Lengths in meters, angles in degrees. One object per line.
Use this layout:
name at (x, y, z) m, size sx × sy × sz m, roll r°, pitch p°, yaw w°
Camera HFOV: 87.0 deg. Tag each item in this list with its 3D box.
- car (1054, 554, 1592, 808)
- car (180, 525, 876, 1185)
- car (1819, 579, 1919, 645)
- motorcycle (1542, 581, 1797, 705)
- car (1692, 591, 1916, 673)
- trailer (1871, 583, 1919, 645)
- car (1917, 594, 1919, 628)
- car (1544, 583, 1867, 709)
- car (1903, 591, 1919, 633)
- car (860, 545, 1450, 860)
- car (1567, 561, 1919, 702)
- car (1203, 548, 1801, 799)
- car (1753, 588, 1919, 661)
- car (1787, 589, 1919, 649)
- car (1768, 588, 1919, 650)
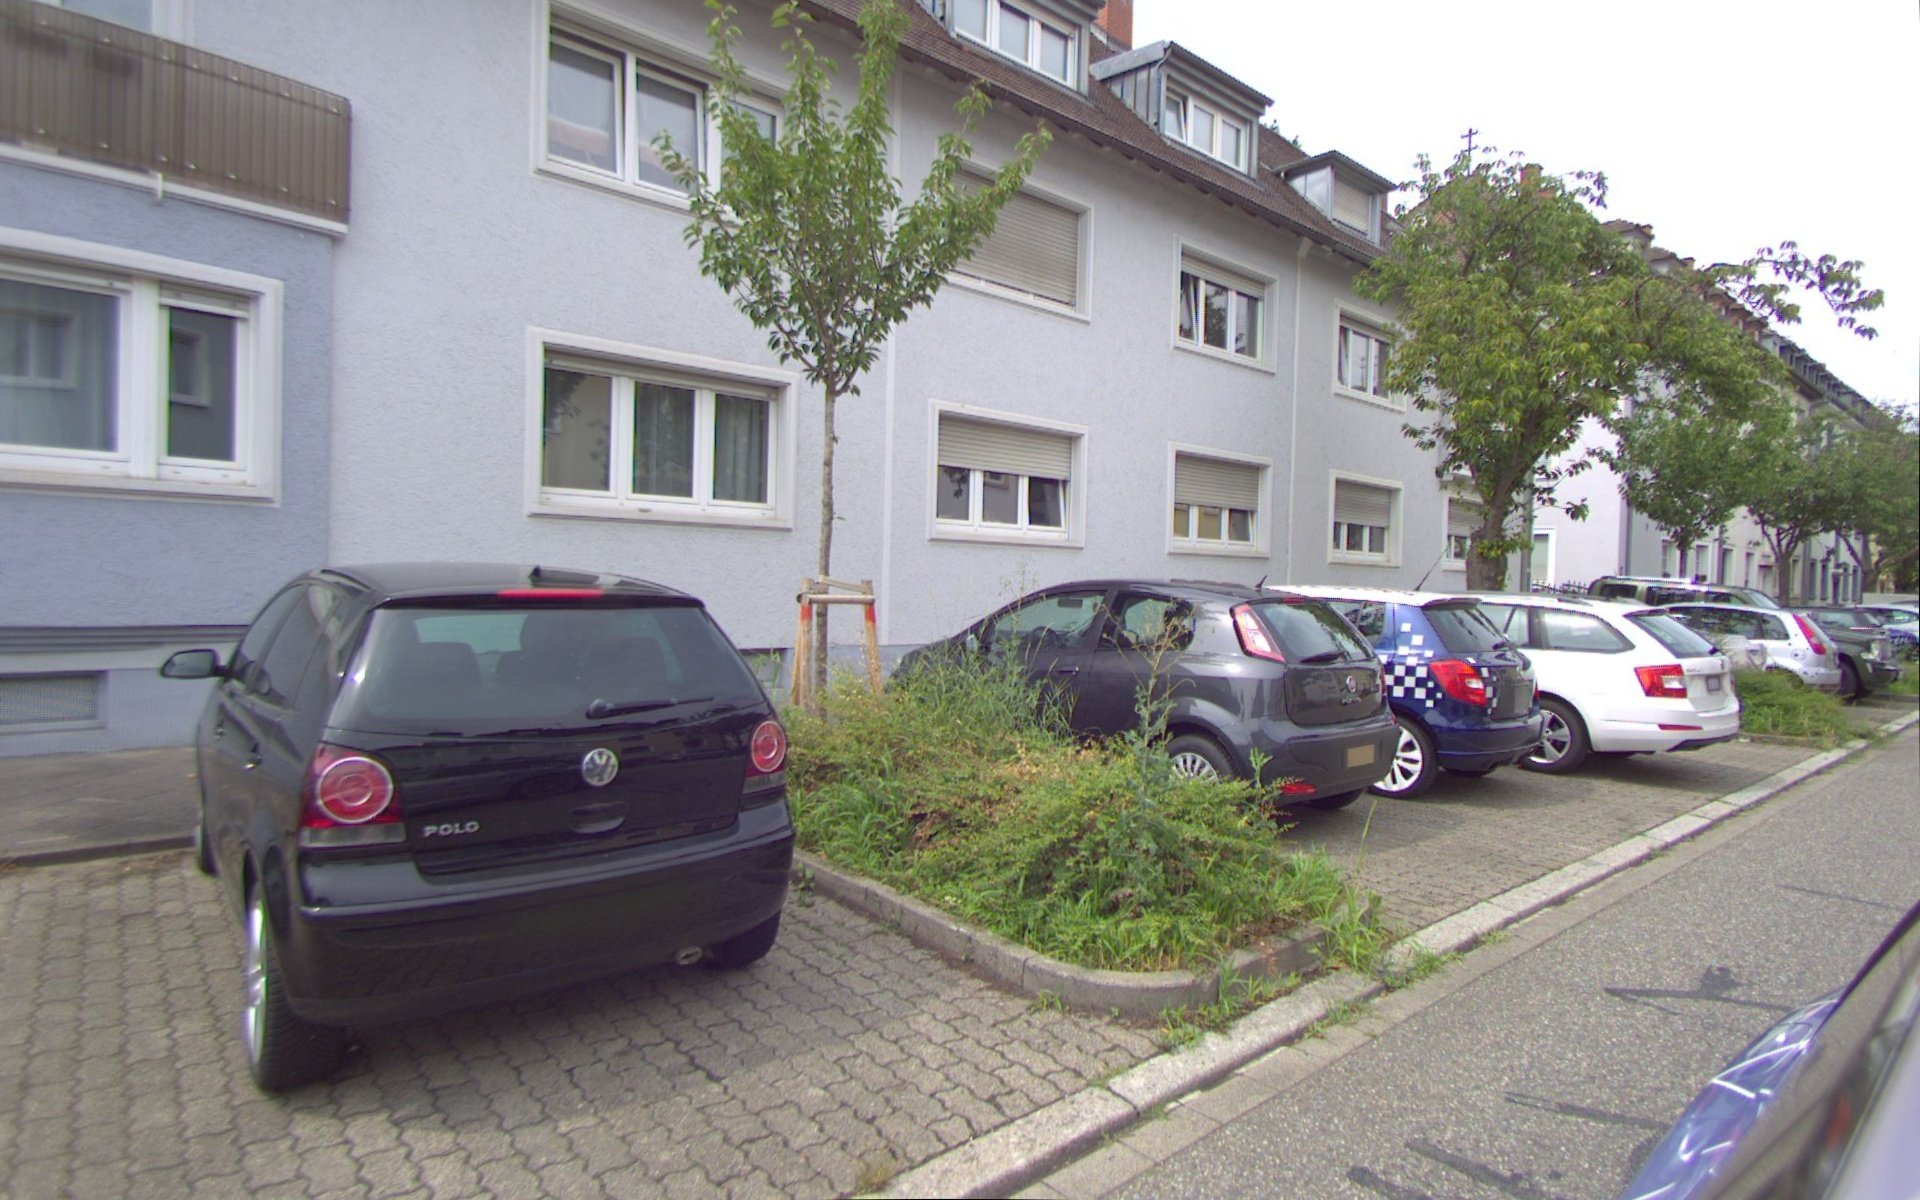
car at (2.837, 0.460, 8.672) m, size 1.682 × 1.526 × 3.998 m, roll 0°, pitch 4°, yaw -39°
car at (-2.206, 0.462, 4.337) m, size 1.682 × 1.439 × 3.998 m, roll 0°, pitch 4°, yaw -39°
car at (28.207, 0.400, 29.672) m, size 1.868 × 1.756 × 4.229 m, roll 1°, pitch 4°, yaw -37°
motorcycle at (9.684, 0.522, 13.928) m, size 1.014 × 1.482 × 2.704 m, roll 0°, pitch 2°, yaw -43°
car at (18.852, 0.637, 22.719) m, size 1.777 × 1.470 × 3.552 m, roll 0°, pitch 4°, yaw -40°
trailer at (30.448, 0.476, 31.379) m, size 1.374 × 1.853 × 2.971 m, roll 1°, pitch 3°, yaw -36°
car at (43.337, 0.622, 42.749) m, size 1.735 × 1.472 × 3.997 m, roll 0°, pitch 4°, yaw -40°
car at (11.147, 0.580, 15.288) m, size 1.743 × 1.472 × 3.630 m, roll 0°, pitch 4°, yaw -43°
car at (41.572, 0.629, 41.277) m, size 1.868 × 1.698 × 4.229 m, roll 0°, pitch 4°, yaw -37°
car at (1.108, 0.452, 7.321) m, size 1.682 × 1.526 × 3.998 m, roll 0°, pitch 4°, yaw -39°
car at (13.032, 0.391, 16.935) m, size 1.759 × 1.880 × 4.541 m, roll 1°, pitch 3°, yaw -37°
car at (4.808, 0.440, 9.675) m, size 1.858 × 1.684 × 4.628 m, roll 0°, pitch 4°, yaw -38°
car at (22.746, 0.585, 25.560) m, size 1.738 × 1.548 × 3.994 m, roll 0°, pitch 4°, yaw -42°
car at (26.217, 0.524, 28.845) m, size 1.831 × 1.459 × 3.759 m, roll 0°, pitch 4°, yaw -39°
car at (24.616, 0.503, 27.419) m, size 1.738 × 1.427 × 3.994 m, roll 0°, pitch 4°, yaw -42°
